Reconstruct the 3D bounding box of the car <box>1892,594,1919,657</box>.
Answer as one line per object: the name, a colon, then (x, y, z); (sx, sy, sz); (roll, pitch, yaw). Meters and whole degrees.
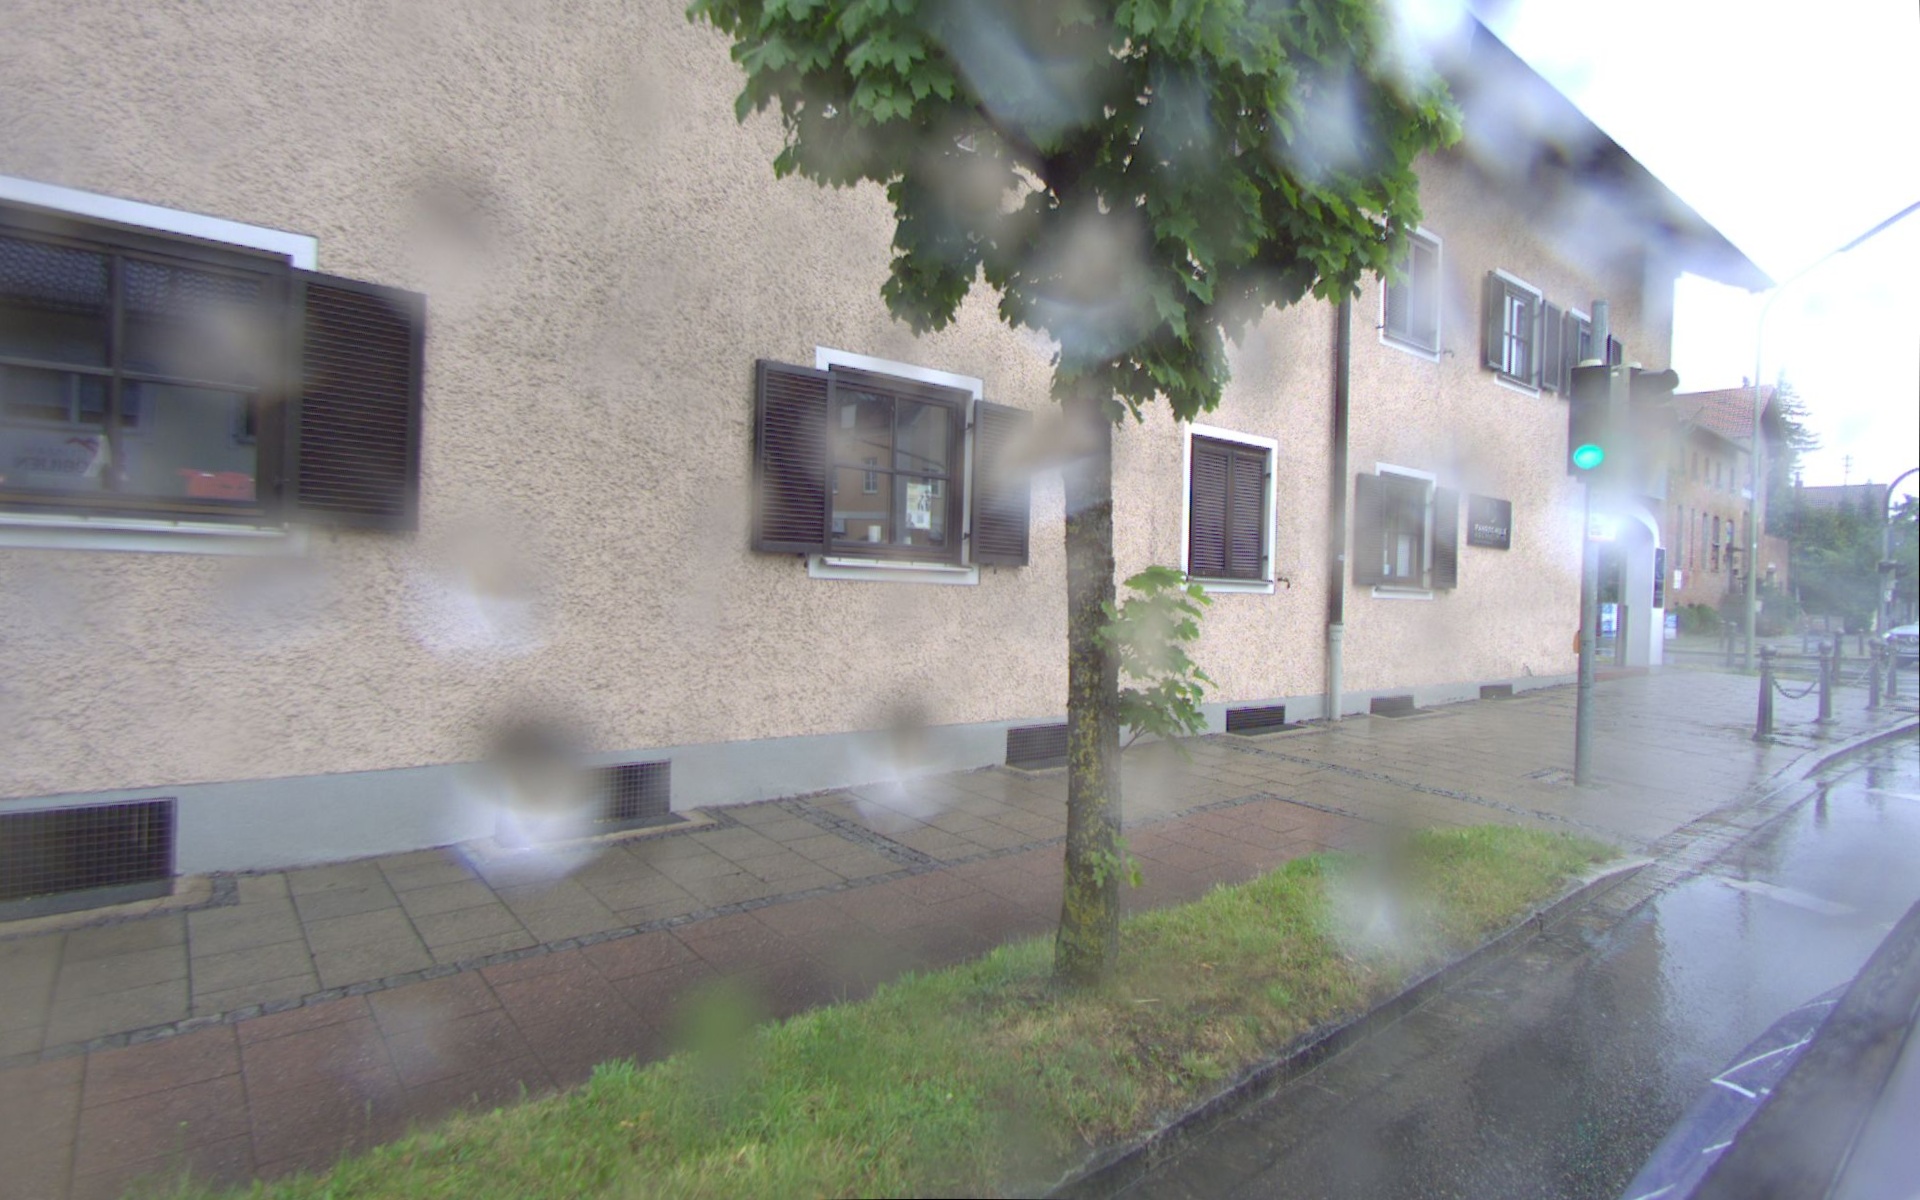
car: (25.888, 0.682, 25.499); (4.513, 1.517, 1.740); (1, 2, -22)
